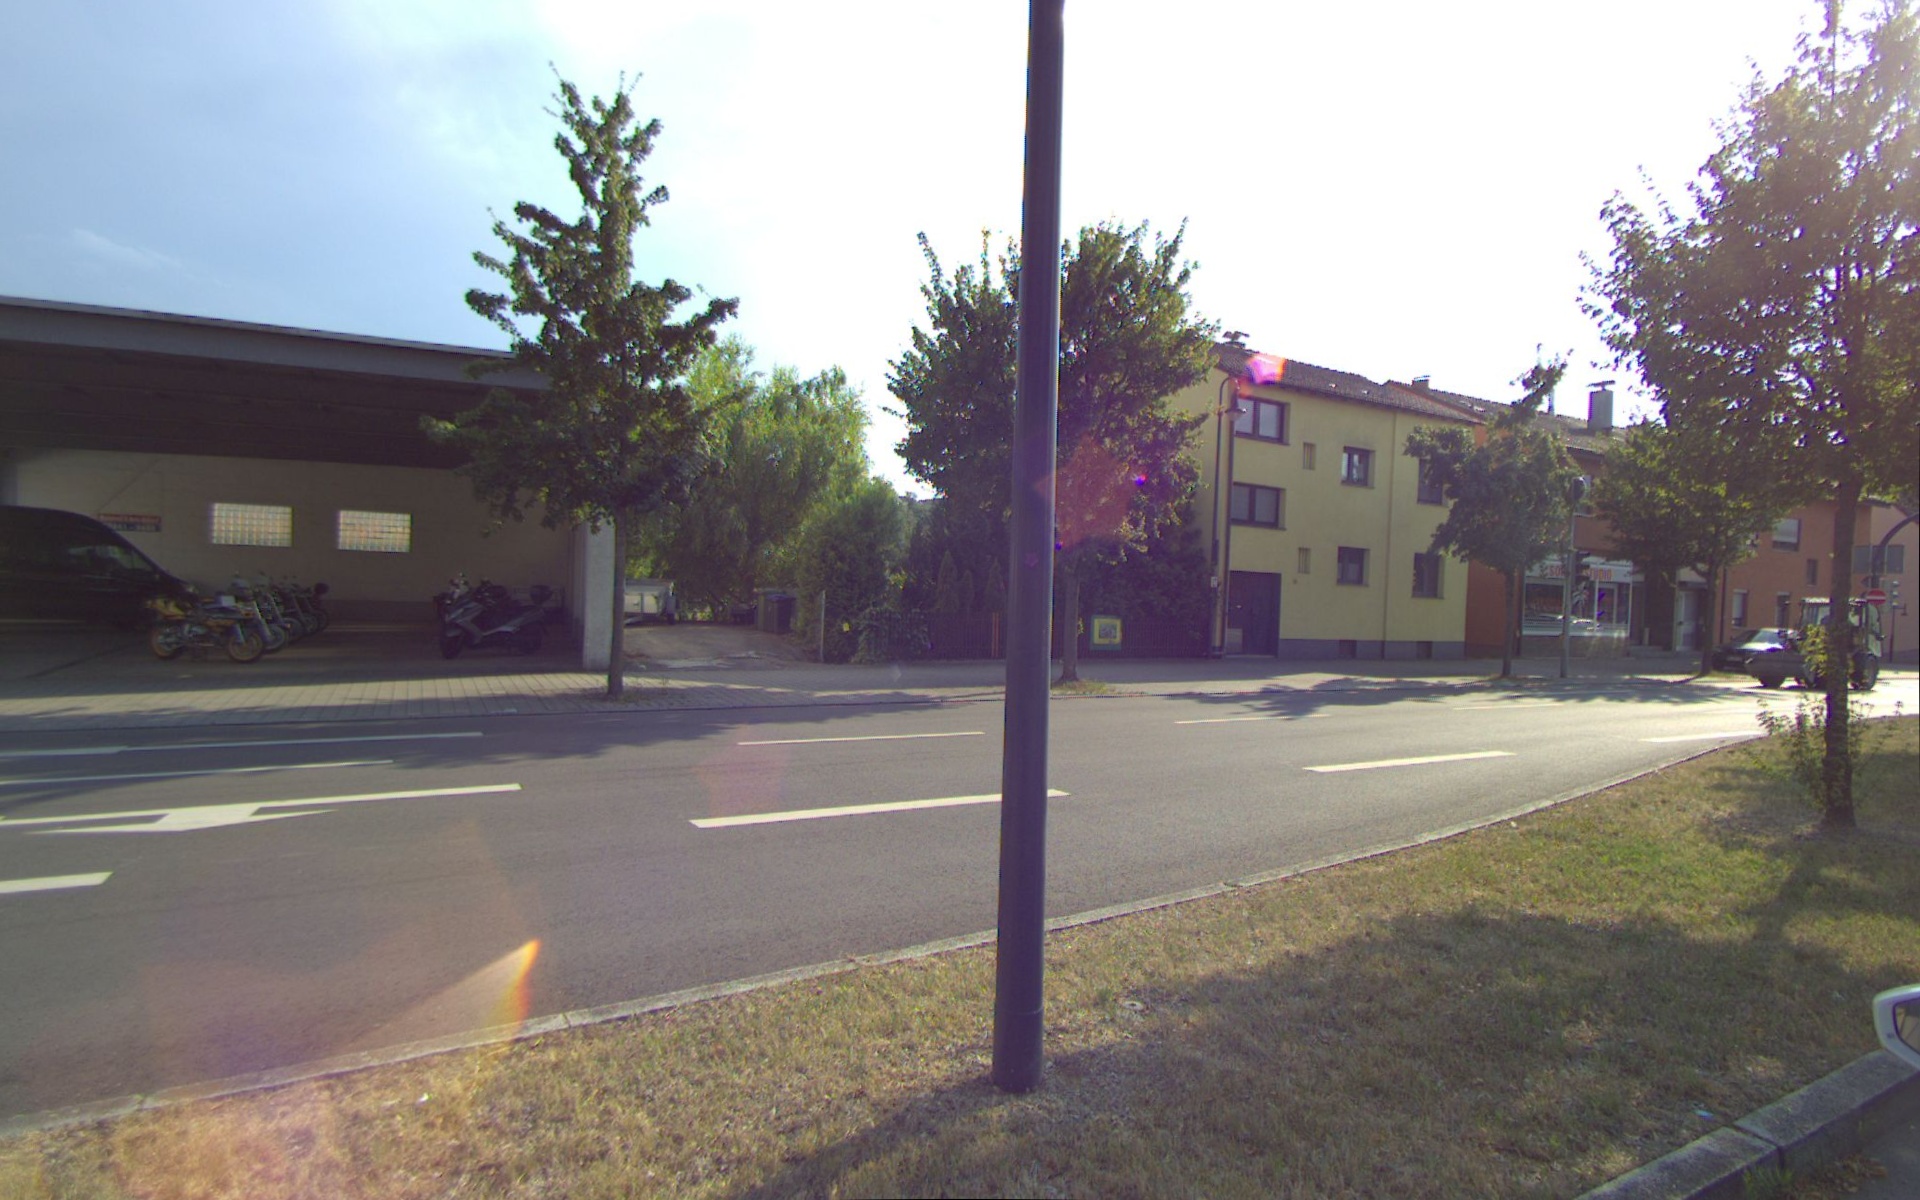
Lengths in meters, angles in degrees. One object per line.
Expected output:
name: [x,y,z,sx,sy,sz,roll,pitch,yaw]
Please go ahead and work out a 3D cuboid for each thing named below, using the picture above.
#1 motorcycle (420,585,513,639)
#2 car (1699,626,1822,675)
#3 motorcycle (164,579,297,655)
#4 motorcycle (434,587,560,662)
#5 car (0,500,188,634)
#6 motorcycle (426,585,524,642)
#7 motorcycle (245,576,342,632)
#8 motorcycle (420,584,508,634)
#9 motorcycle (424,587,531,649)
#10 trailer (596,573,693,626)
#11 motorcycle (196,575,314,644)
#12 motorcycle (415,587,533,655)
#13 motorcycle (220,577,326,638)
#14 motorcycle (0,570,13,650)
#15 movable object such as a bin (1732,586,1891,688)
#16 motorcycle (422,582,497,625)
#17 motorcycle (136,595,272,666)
motorcycle: [-12.685,0.282,25.891,0.621,1.314,2.113,1,2,36]
car: [25.933,1.609,32.524,3.953,1.319,1.728,1,4,-30]
motorcycle: [-13.668,0.308,18.833,2.219,1.354,0.631,1,0,10]
motorcycle: [-8.655,0.422,18.868,0.621,1.314,2.113,1,2,36]
car: [-20.488,-0.696,22.063,1.962,2.789,5.280,1,0,26]
motorcycle: [-11.803,0.303,24.508,0.621,1.314,2.113,1,2,36]
motorcycle: [-16.945,0.090,25.544,2.219,1.354,0.631,1,0,10]
motorcycle: [-13.549,0.230,27.489,0.621,1.314,2.113,1,2,36]
motorcycle: [-10.778,0.375,22.508,0.621,1.314,2.113,1,2,36]
trailer: [-8.253,-0.013,26.588,1.698,1.280,3.995,1,0,-7]
motorcycle: [-14.789,0.193,21.076,2.219,1.354,0.631,1,0,10]
motorcycle: [-9.848,0.393,20.430,0.621,1.314,2.113,1,2,36]
motorcycle: [-15.920,0.170,23.285,2.219,1.354,0.631,1,0,10]
motorcycle: [-17.323,0.155,16.696,0.619,1.380,2.225,1,0,24]
movable object such as a bin: [22.171,0.954,26.128,4.396,2.474,1.729,2,-1,-29]
motorcycle: [-15.995,0.090,32.148,0.621,1.314,2.113,1,2,36]
motorcycle: [-12.533,0.493,16.668,1.993,1.101,0.631,1,0,12]
